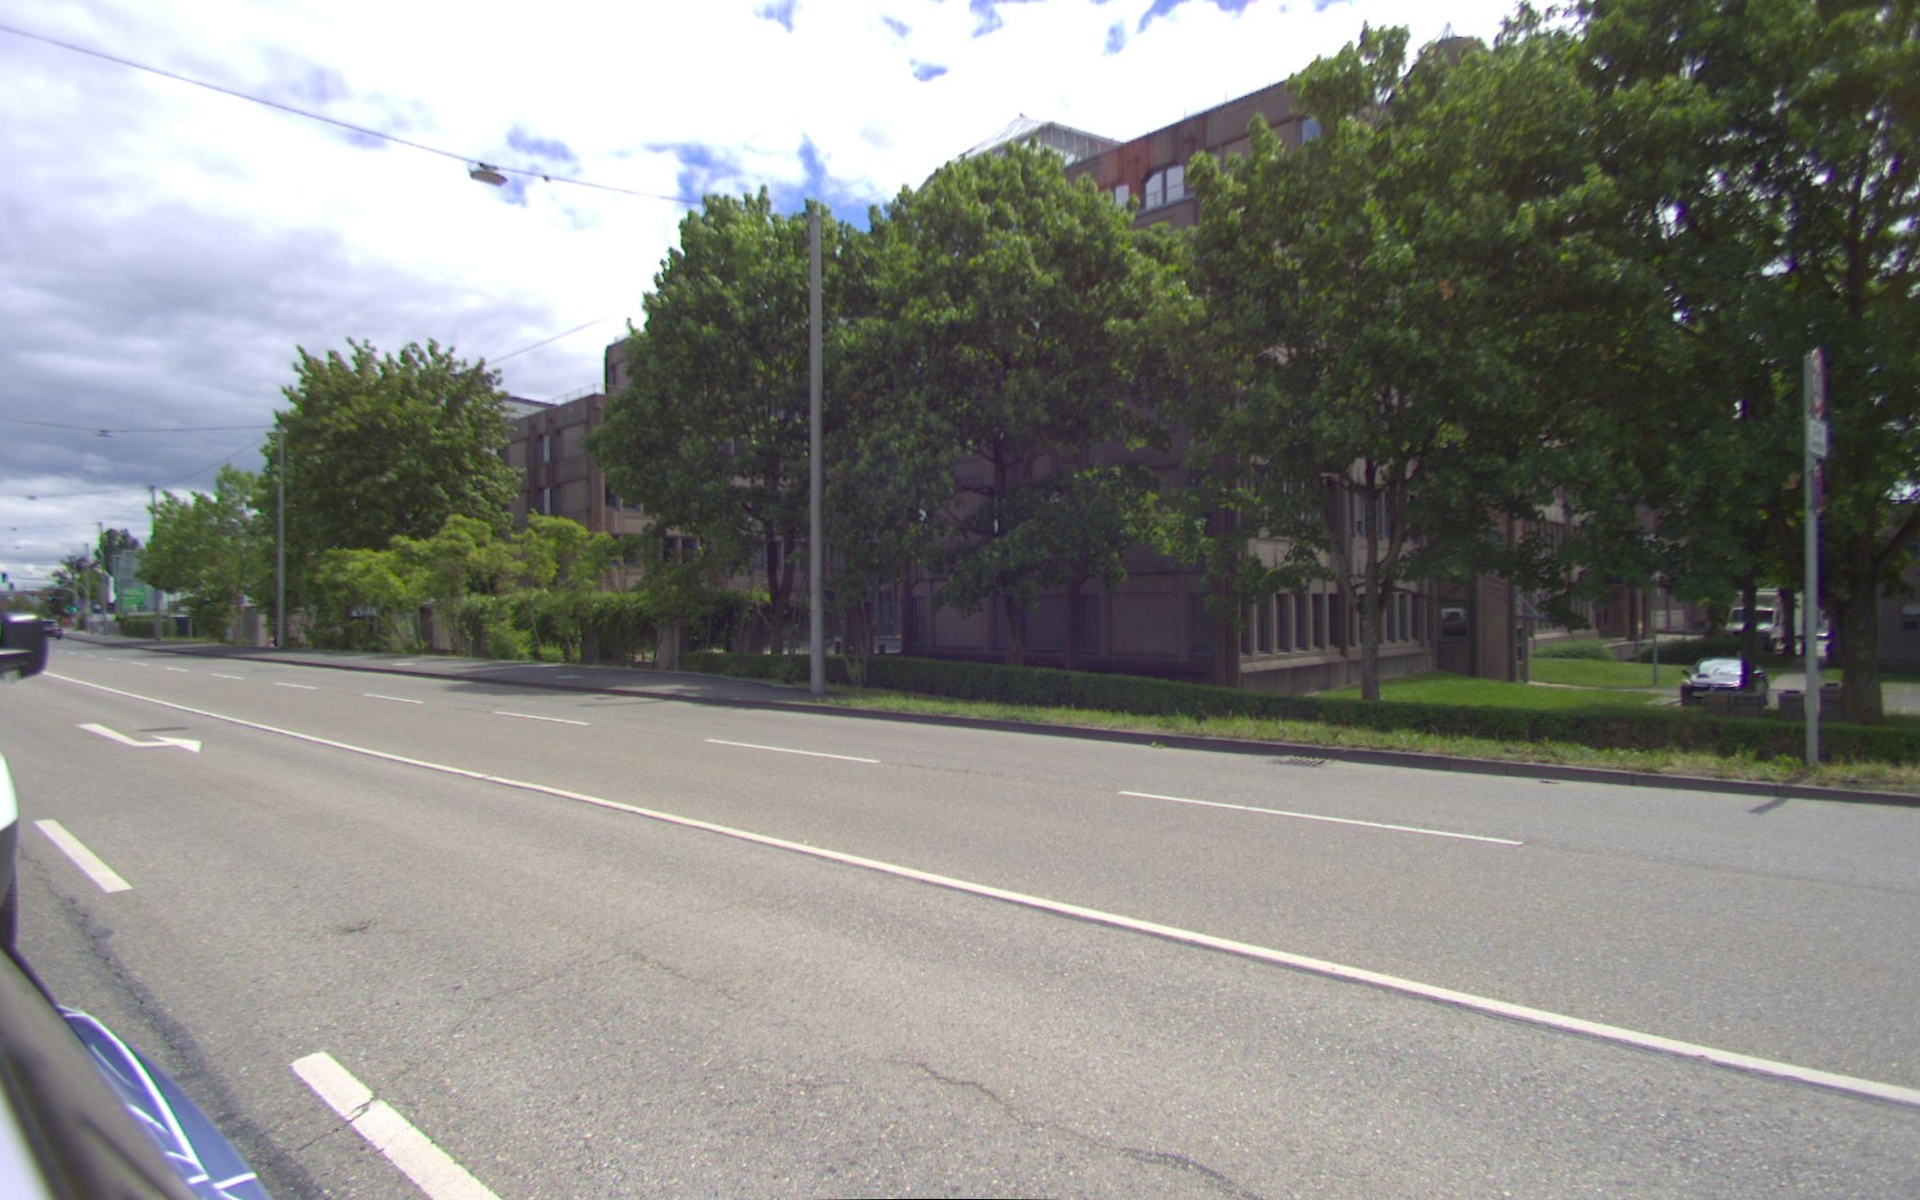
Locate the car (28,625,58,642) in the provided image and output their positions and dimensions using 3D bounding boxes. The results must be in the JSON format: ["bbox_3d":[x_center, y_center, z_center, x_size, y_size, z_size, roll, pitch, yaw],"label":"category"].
[{"bbox_3d":[-92.630,3.330,102.200,4.312,1.597,1.777,0,0,42],"label":"car"}]

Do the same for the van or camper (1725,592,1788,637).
[{"bbox_3d":[39.361,0.673,50.076,2.355,2.120,5.138,0,0,38],"label":"van or camper"}]

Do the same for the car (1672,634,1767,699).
[{"bbox_3d":[22.270,1.895,29.629,1.787,1.741,3.943,-1,-2,43],"label":"car"}]

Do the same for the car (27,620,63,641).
[{"bbox_3d":[-74.862,2.460,82.791,4.572,1.627,1.847,0,-1,43],"label":"car"}]

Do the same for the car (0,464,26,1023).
[{"bbox_3d":[-6.052,0.534,4.910,5.884,1.932,1.971,-1,-1,45],"label":"car"}]
